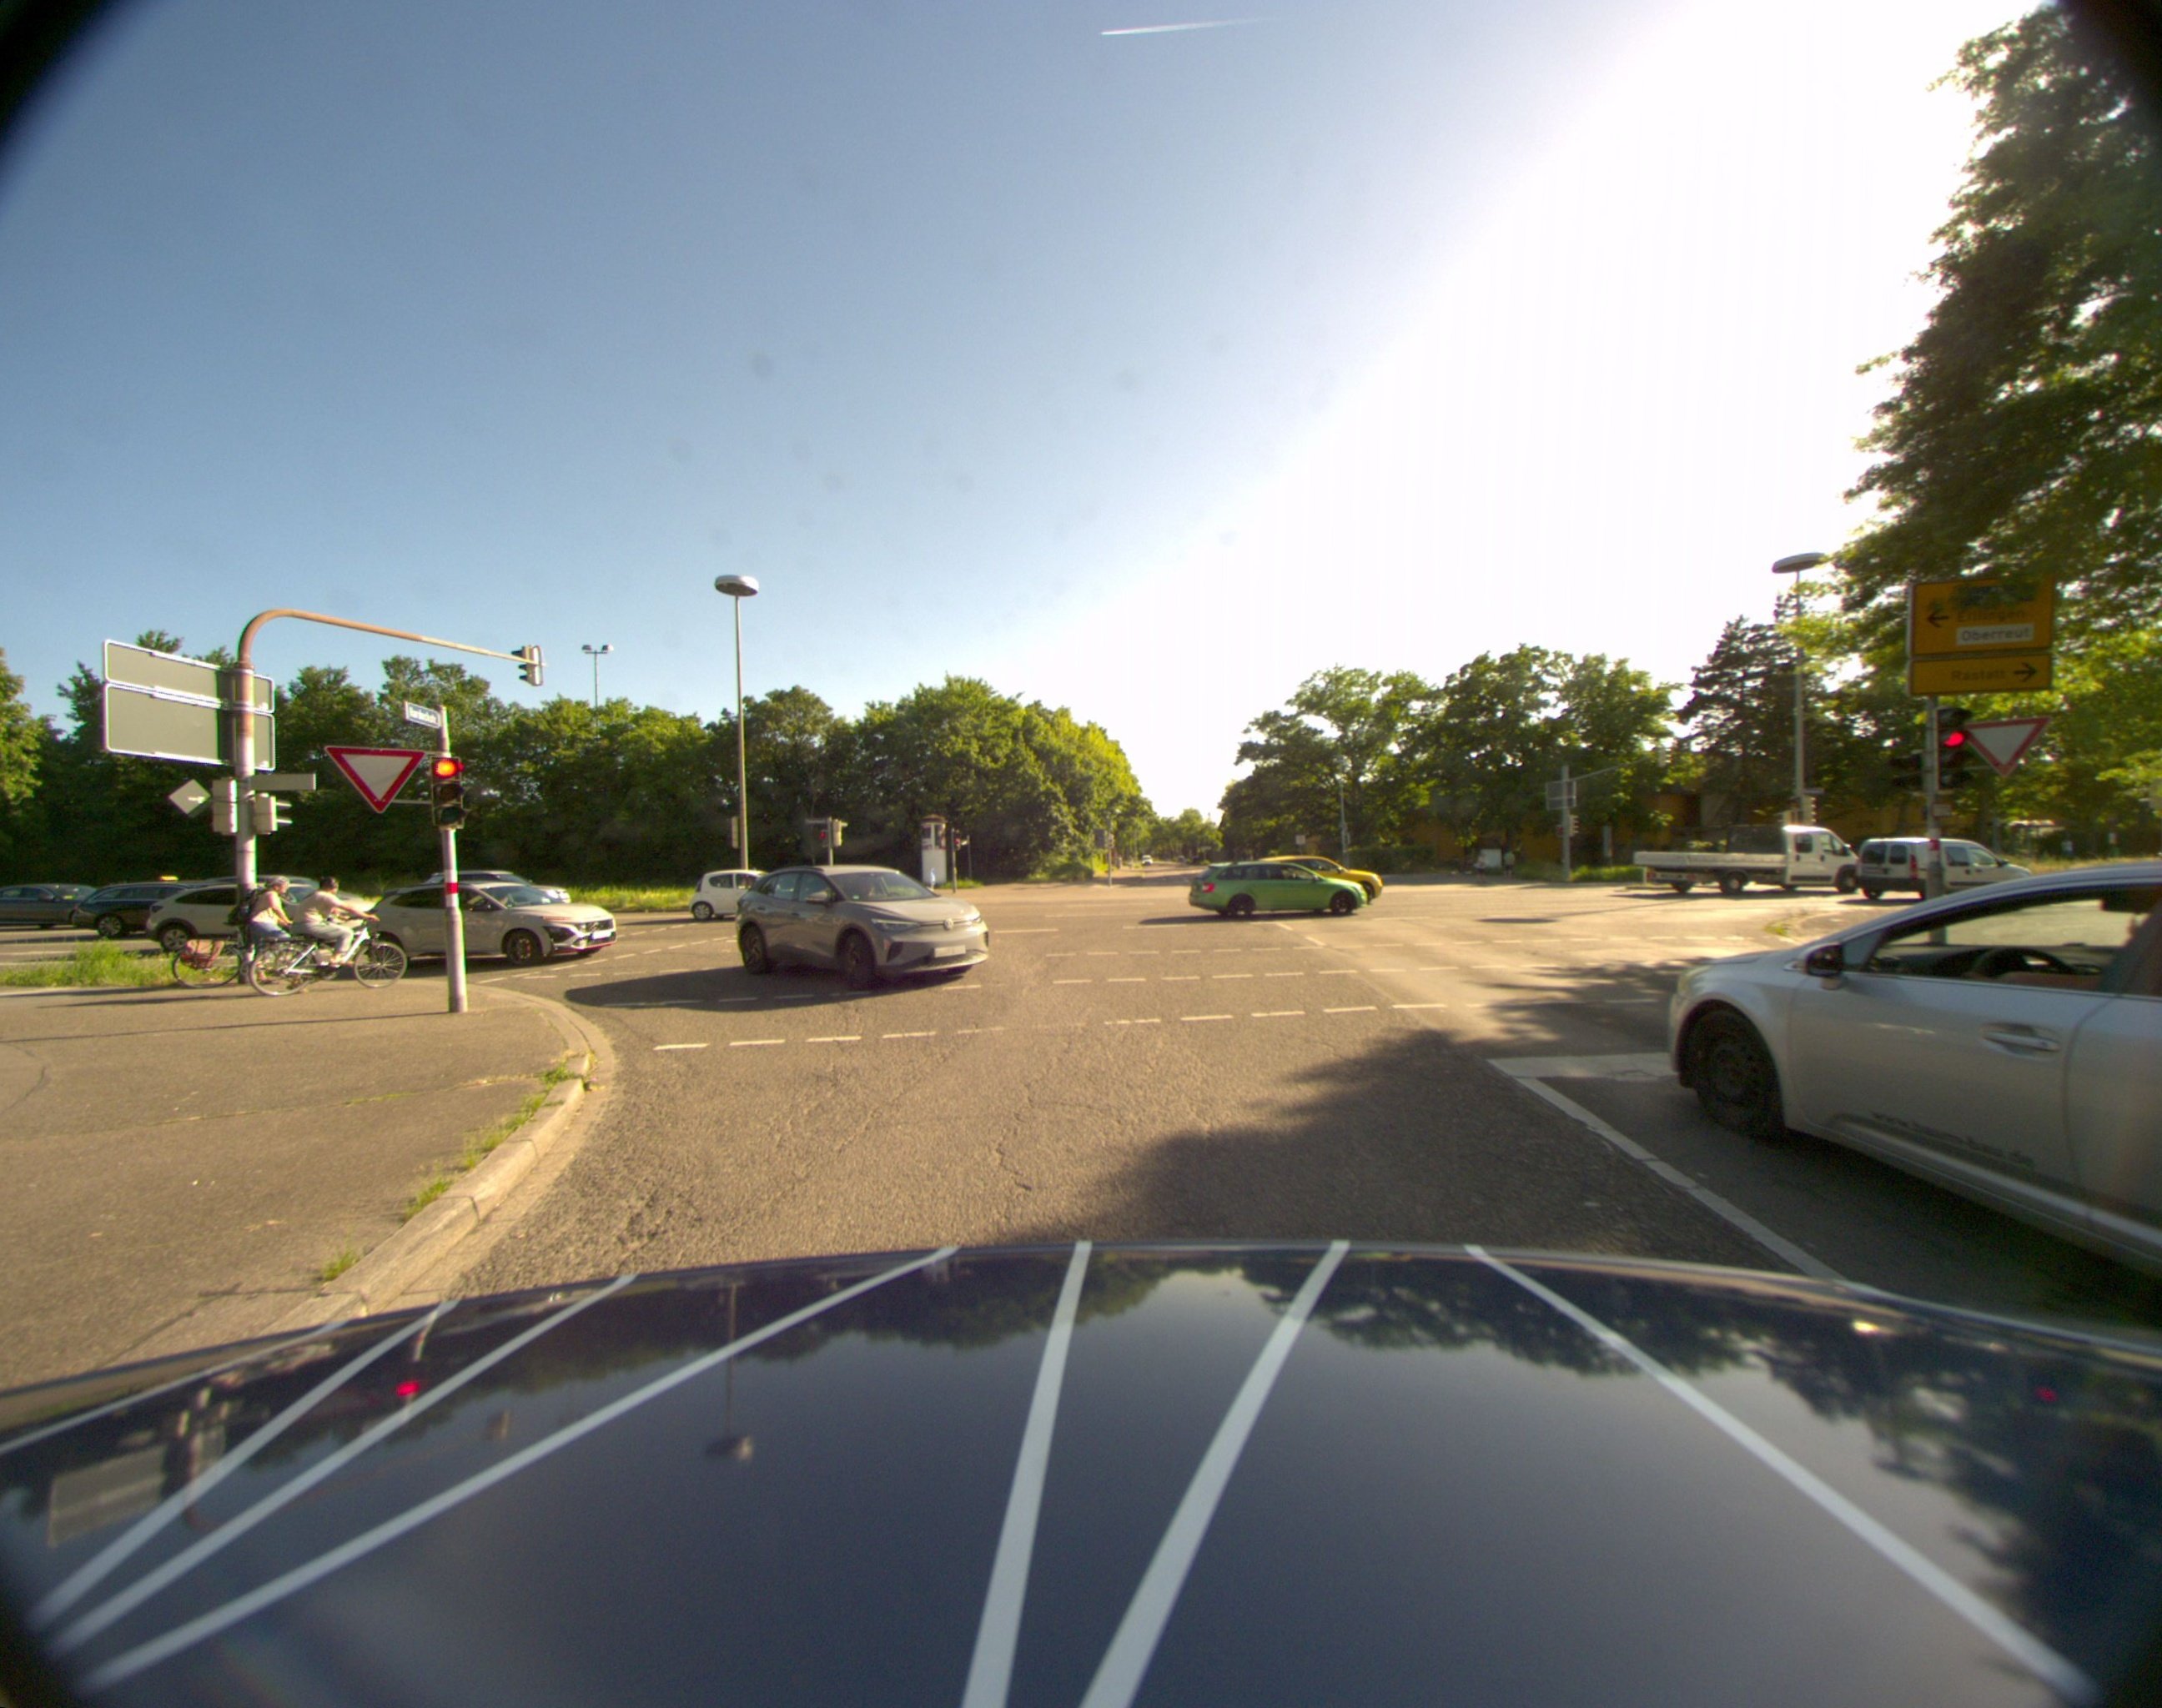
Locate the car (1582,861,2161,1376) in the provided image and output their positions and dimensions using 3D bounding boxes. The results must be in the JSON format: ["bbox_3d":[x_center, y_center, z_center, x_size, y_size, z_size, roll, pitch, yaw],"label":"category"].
[{"bbox_3d":[4.142,0.796,2.644,1.840,1.480,4.891,0,0,4],"label":"car"}]

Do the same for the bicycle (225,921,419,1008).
[{"bbox_3d":[-10.845,1.539,10.963,0.530,1.069,1.874,1,-3,19],"label":"bicycle"}]

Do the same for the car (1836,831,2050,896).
[{"bbox_3d":[24.962,0.234,22.098,4.364,1.719,1.919,-1,2,-6],"label":"car"}]

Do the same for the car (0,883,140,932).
[{"bbox_3d":[-33.110,1.677,23.905,4.354,1.397,1.836,-1,0,-5],"label":"car"}]

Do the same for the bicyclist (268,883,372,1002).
[{"bbox_3d":[-10.956,1.248,10.962,0.542,1.625,0.809,1,-3,18],"label":"bicyclist"}]

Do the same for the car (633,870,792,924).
[{"bbox_3d":[-10.915,1.242,22.731,3.911,1.431,1.692,-1,1,-5],"label":"car"}]

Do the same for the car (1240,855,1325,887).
[{"bbox_3d":[9.607,0.807,36.324,3.596,1.424,1.552,-1,1,-4],"label":"car"}]

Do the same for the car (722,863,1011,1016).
[{"bbox_3d":[-3.276,1.035,11.168,4.351,1.631,1.998,1,3,41],"label":"car"}]

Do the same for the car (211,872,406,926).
[{"bbox_3d":[-25.186,1.448,24.921,4.242,1.565,1.879,-1,0,-5],"label":"car"}]

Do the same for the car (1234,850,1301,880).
[{"bbox_3d":[11.661,0.632,47.748,1.811,1.644,4.094,-2,3,-30],"label":"car"}]

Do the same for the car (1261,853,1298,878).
[{"bbox_3d":[12.610,0.714,48.451,1.639,1.391,3.891,0,2,5],"label":"car"}]

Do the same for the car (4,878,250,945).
[{"bbox_3d":[-26.026,1.524,20.894,4.001,1.532,1.621,-1,2,-13],"label":"car"}]

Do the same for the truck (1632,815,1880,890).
[{"bbox_3d":[22.490,-0.062,25.450,6.773,2.296,2.190,-1,0,-6],"label":"truck"}]

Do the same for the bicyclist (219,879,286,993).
[{"bbox_3d":[-12.741,1.236,11.686,0.525,1.686,0.587,1,-1,35],"label":"bicyclist"}]

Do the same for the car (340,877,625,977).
[{"bbox_3d":[-11.254,1.344,14.456,4.116,1.564,1.693,-2,2,5],"label":"car"}]

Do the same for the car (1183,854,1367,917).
[{"bbox_3d":[5.076,0.793,20.235,4.363,1.478,1.919,-1,2,-4],"label":"car"}]

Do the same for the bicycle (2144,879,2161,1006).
[{"bbox_3d":[9.987,0.794,5.944,0.528,1.135,2.026,-1,0,1],"label":"bicycle"}]

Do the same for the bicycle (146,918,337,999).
[{"bbox_3d":[-12.779,1.550,11.632,0.529,1.070,1.875,1,-2,35],"label":"bicycle"}]

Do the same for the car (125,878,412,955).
[{"bbox_3d":[-18.715,1.407,17.697,4.363,1.478,1.919,-1,2,-4],"label":"car"}]

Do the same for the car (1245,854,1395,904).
[{"bbox_3d":[7.415,0.744,23.770,4.119,1.431,1.692,-1,1,-5],"label":"car"}]

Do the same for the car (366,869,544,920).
[{"bbox_3d":[-20.455,1.285,24.979,4.193,1.528,1.836,-1,0,-5],"label":"car"}]
